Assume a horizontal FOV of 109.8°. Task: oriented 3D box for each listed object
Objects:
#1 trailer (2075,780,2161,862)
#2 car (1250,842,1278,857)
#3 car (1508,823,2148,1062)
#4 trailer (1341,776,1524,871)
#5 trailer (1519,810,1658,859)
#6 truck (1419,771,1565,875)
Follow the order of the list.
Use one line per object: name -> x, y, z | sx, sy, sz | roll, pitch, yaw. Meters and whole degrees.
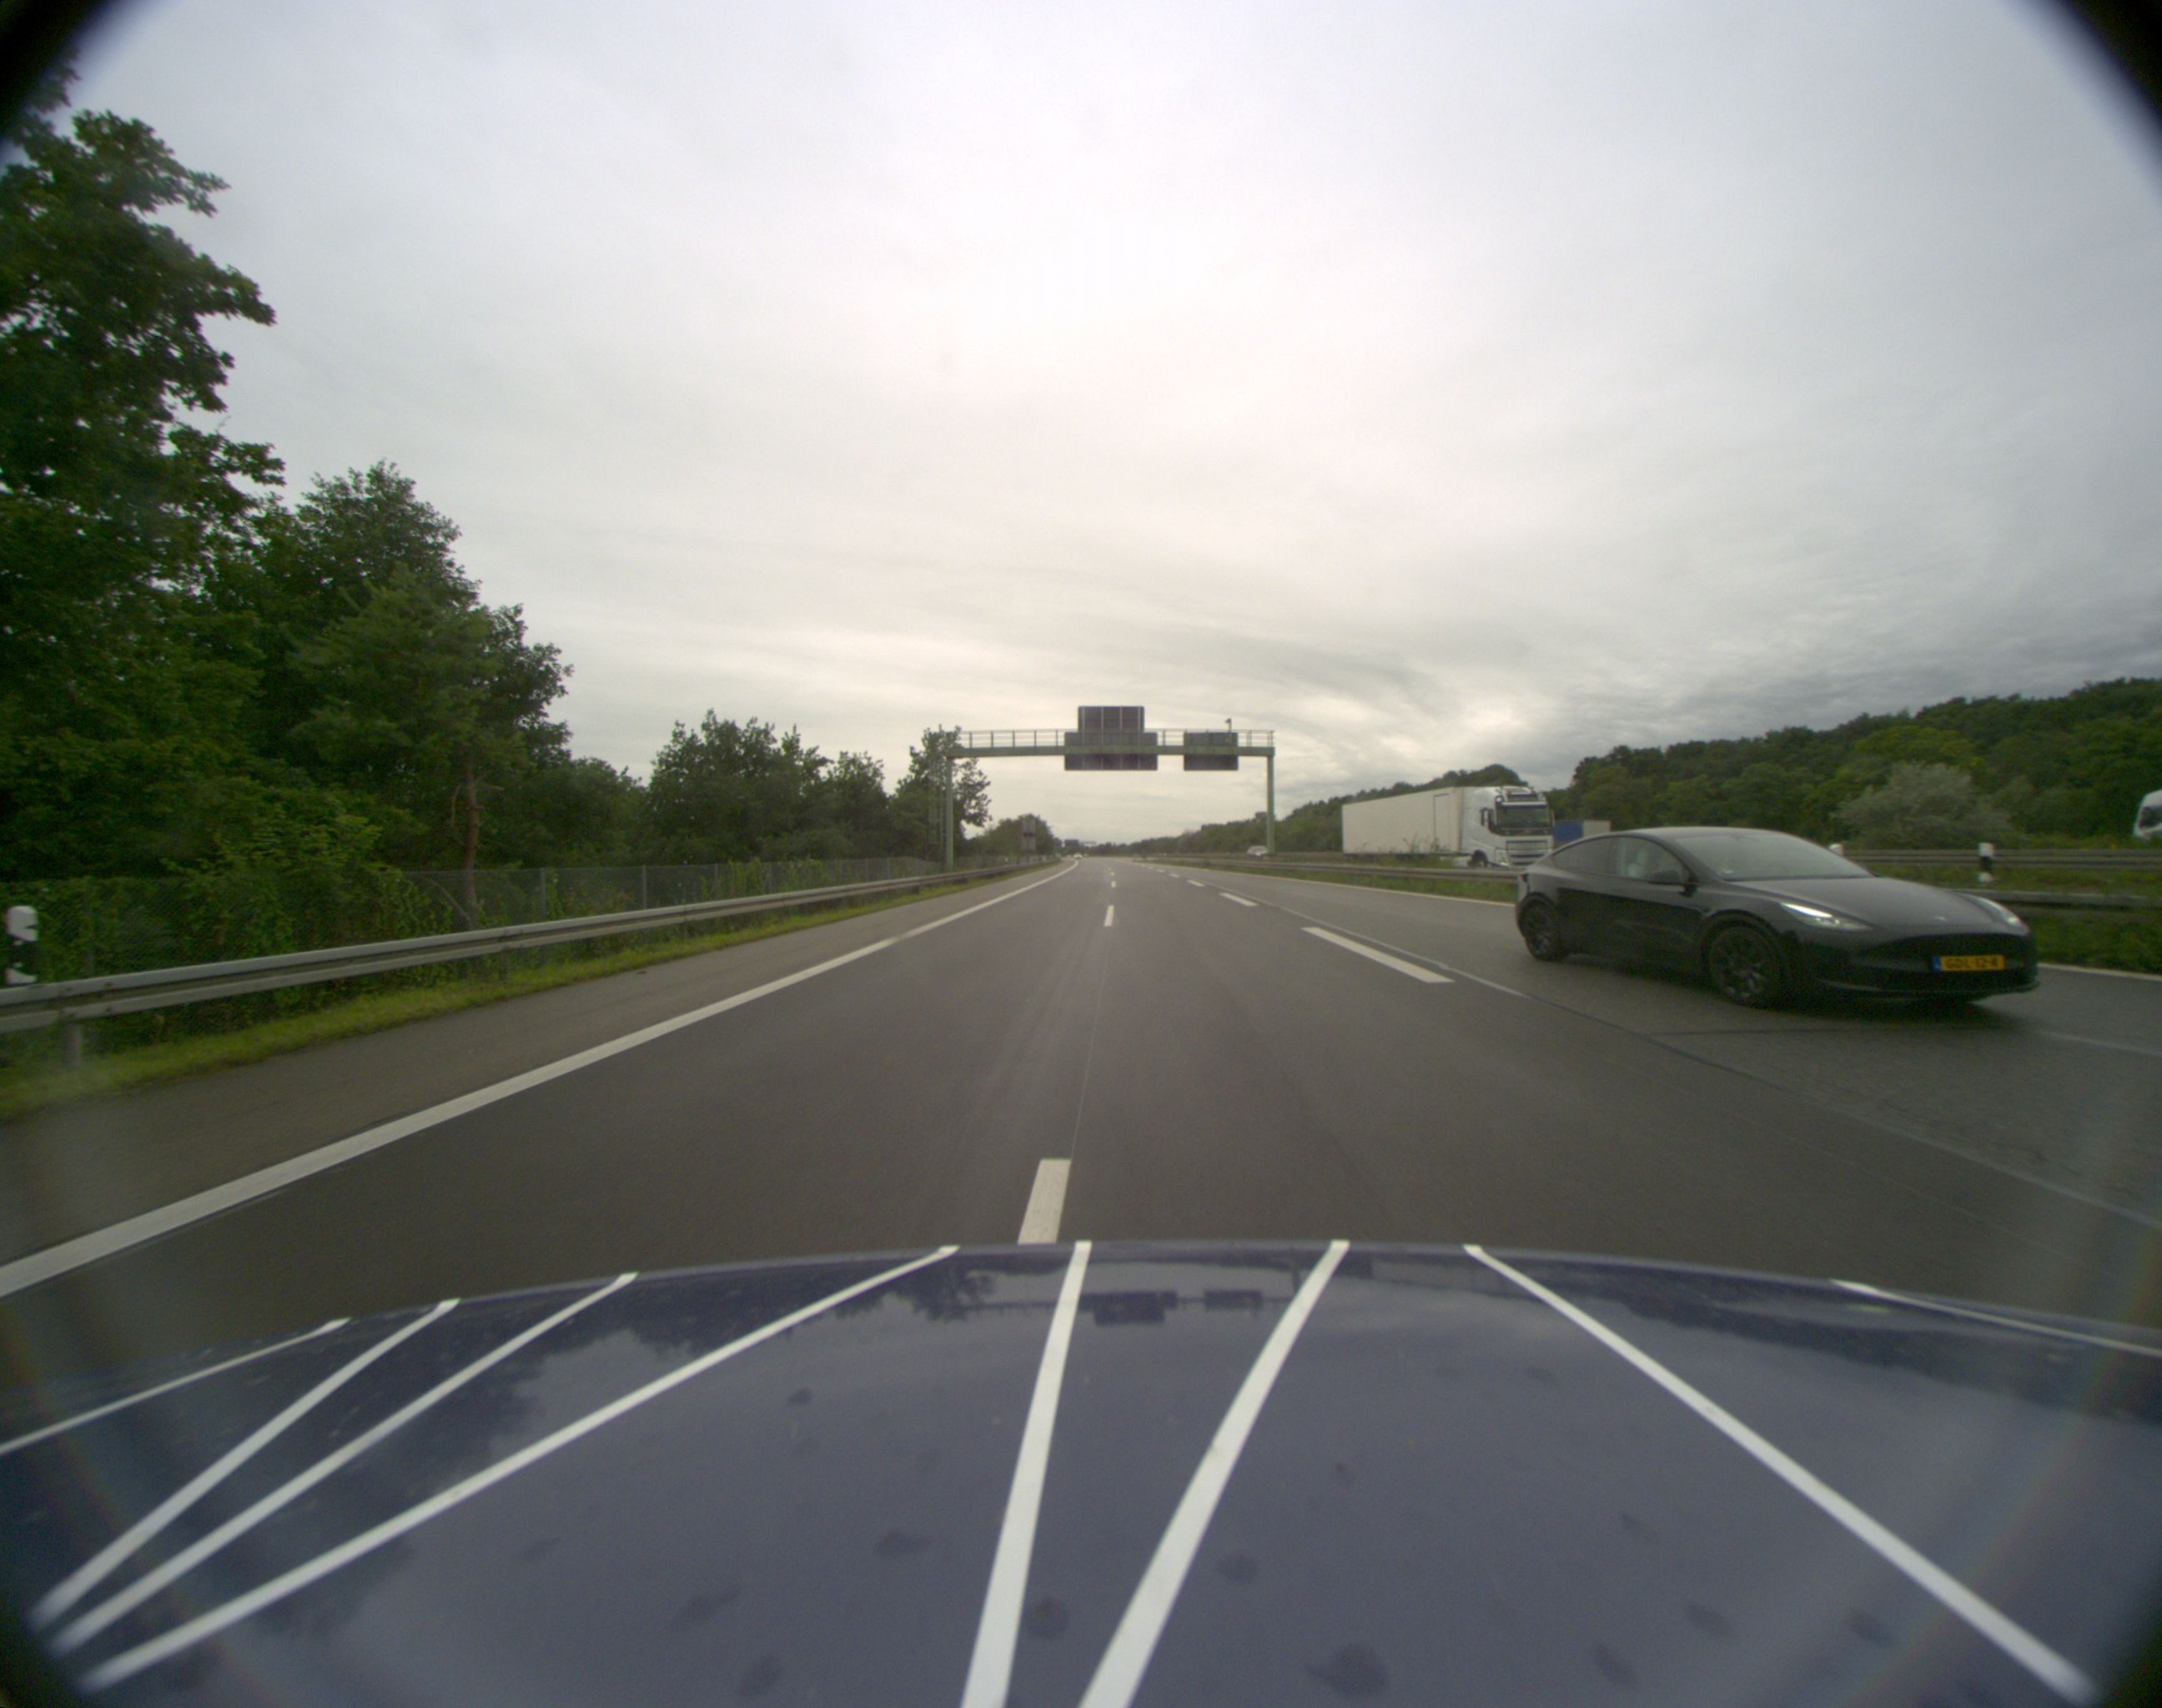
trailer -> 46.042, -1.410, 30.378 | 2.967, 3.383, 7.270 | -2, 0, -2
car -> 20.770, -0.508, 86.471 | 1.903, 1.641, 4.484 | -2, 1, -2
car -> 6.586, 0.594, 7.665 | 1.966, 1.628, 4.553 | -2, 1, 0
trailer -> 17.838, -1.388, 40.393 | 2.773, 4.111, 13.947 | -2, 0, -2
trailer -> 45.413, -1.609, 68.869 | 2.967, 3.903, 13.522 | -2, 0, -3
truck -> 18.043, -1.288, 33.882 | 2.773, 4.111, 6.443 | -2, 1, -2
